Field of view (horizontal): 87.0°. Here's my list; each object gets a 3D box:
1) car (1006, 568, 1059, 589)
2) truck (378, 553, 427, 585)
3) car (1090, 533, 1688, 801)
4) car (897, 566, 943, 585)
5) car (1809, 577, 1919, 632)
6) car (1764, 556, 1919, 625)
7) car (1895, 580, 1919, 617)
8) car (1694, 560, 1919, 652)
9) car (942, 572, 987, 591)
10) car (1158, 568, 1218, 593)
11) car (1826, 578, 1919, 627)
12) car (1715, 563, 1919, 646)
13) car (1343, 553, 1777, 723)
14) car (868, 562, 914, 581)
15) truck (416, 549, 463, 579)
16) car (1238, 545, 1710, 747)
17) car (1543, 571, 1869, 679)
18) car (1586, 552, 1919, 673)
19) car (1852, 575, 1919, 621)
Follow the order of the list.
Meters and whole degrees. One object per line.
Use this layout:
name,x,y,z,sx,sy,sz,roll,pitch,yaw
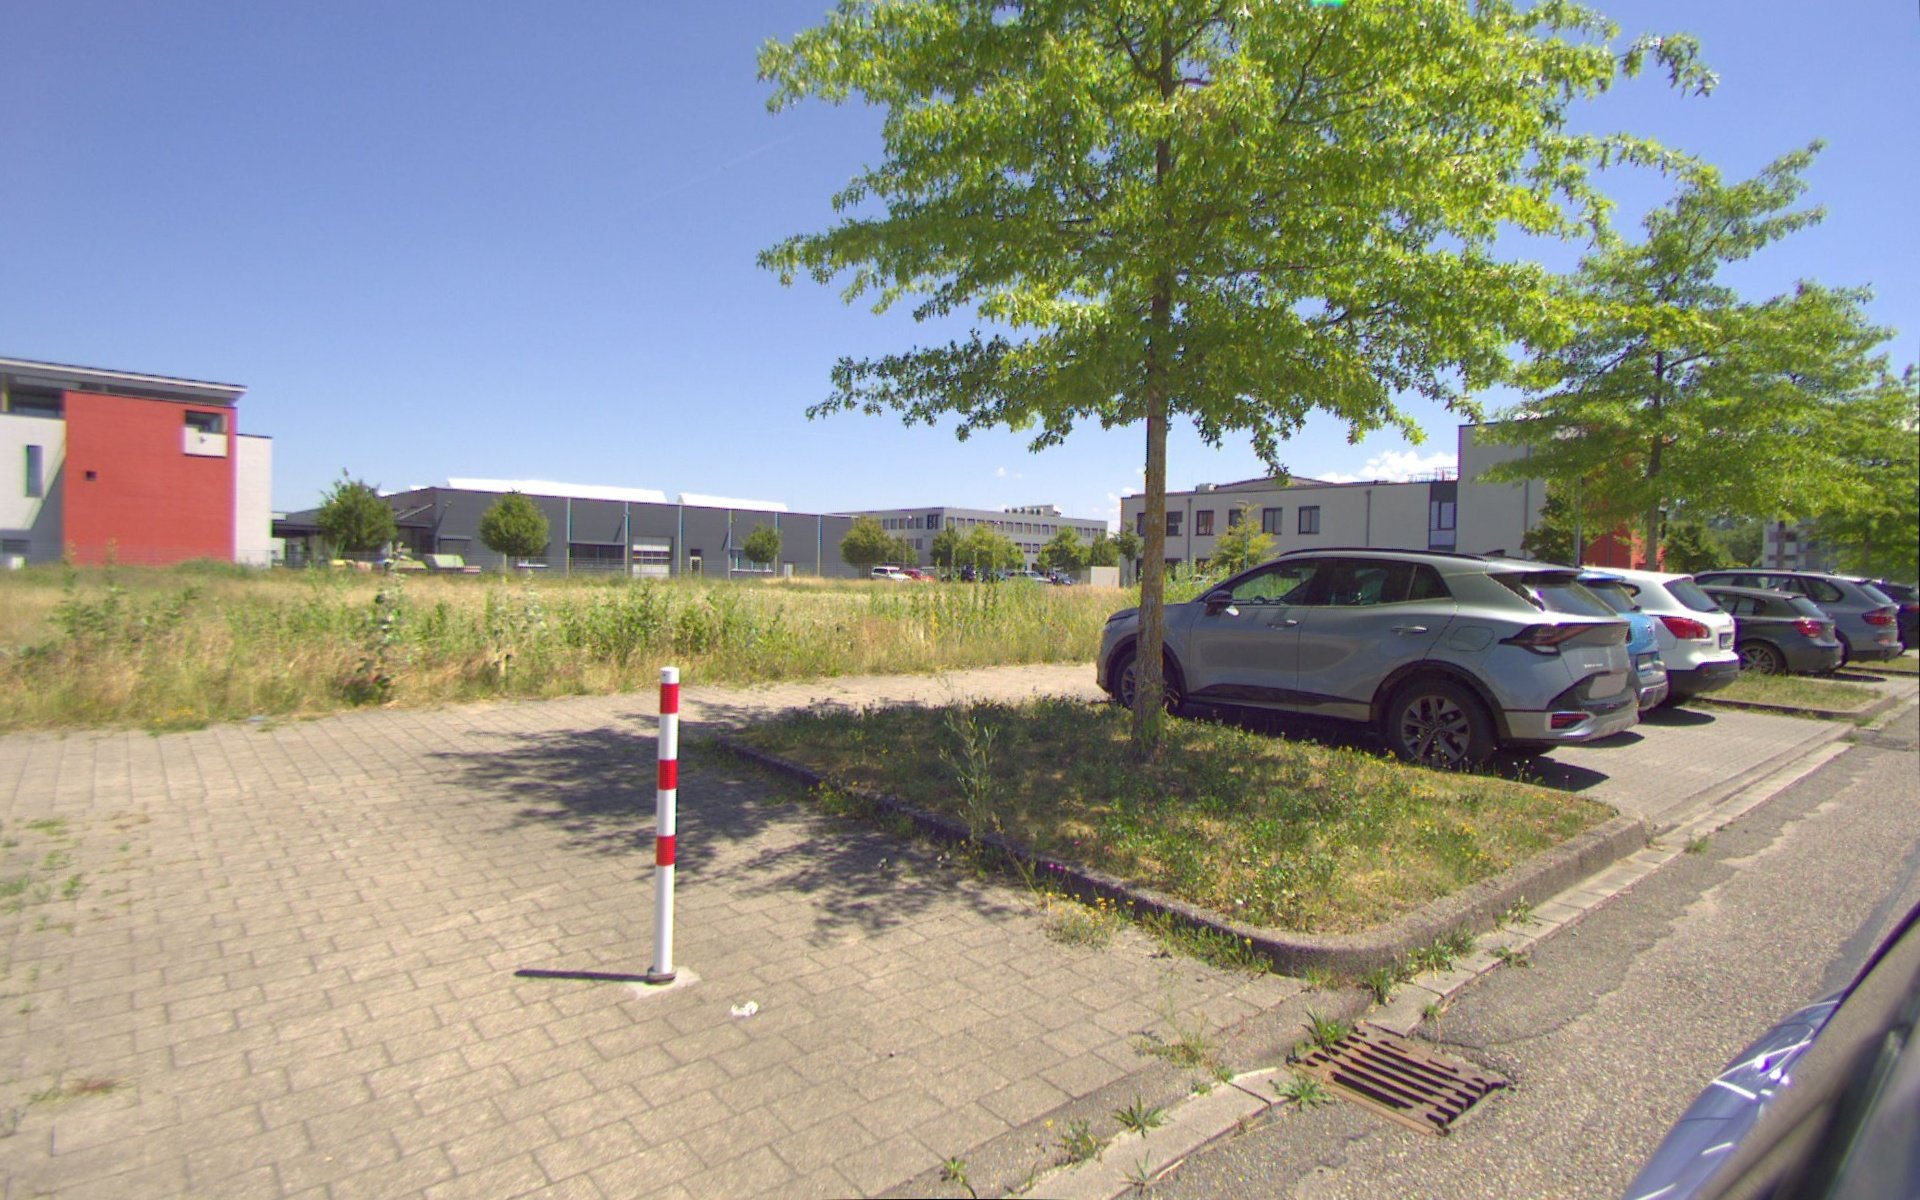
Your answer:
car,5.568,-1.691,77.960,1.690,1.528,3.993,0,2,-42
truck,-37.651,-2.091,68.290,1.965,2.038,4.350,0,2,-41
car,3.328,0.310,8.590,1.818,1.664,4.289,0,3,-41
car,-3.350,-2.051,84.105,1.689,1.528,3.995,0,2,-41
car,28.731,0.129,31.212,1.646,1.521,3.640,0,3,-40
car,26.634,-0.297,29.720,1.764,1.852,4.414,0,3,-40
car,42.674,0.016,43.149,1.746,1.572,3.847,1,2,-36
car,18.591,0.075,21.796,1.751,1.717,4.181,0,3,-42
car,0.347,-1.613,87.518,1.689,1.528,3.995,0,2,-41
car,14.353,-1.240,63.693,1.689,1.528,3.329,0,2,-41
car,33.511,0.138,35.382,1.882,1.580,4.721,0,4,-44
car,20.454,0.050,23.903,1.751,1.698,3.884,0,3,-40
car,6.981,0.285,12.124,1.868,1.627,4.077,-1,3,-40
car,-5.650,-2.346,82.866,1.689,1.470,3.995,0,2,-41
truck,-36.273,-2.506,70.481,1.965,2.038,3.994,0,2,-41
car,5.160,0.297,10.577,1.806,1.664,3.994,0,3,-41
car,11.979,0.299,16.443,1.876,1.426,3.930,-2,4,-41
car,13.989,0.108,18.008,1.959,1.790,4.456,0,3,-43
car,37.174,-0.040,38.913,1.663,1.645,4.056,0,3,-40
